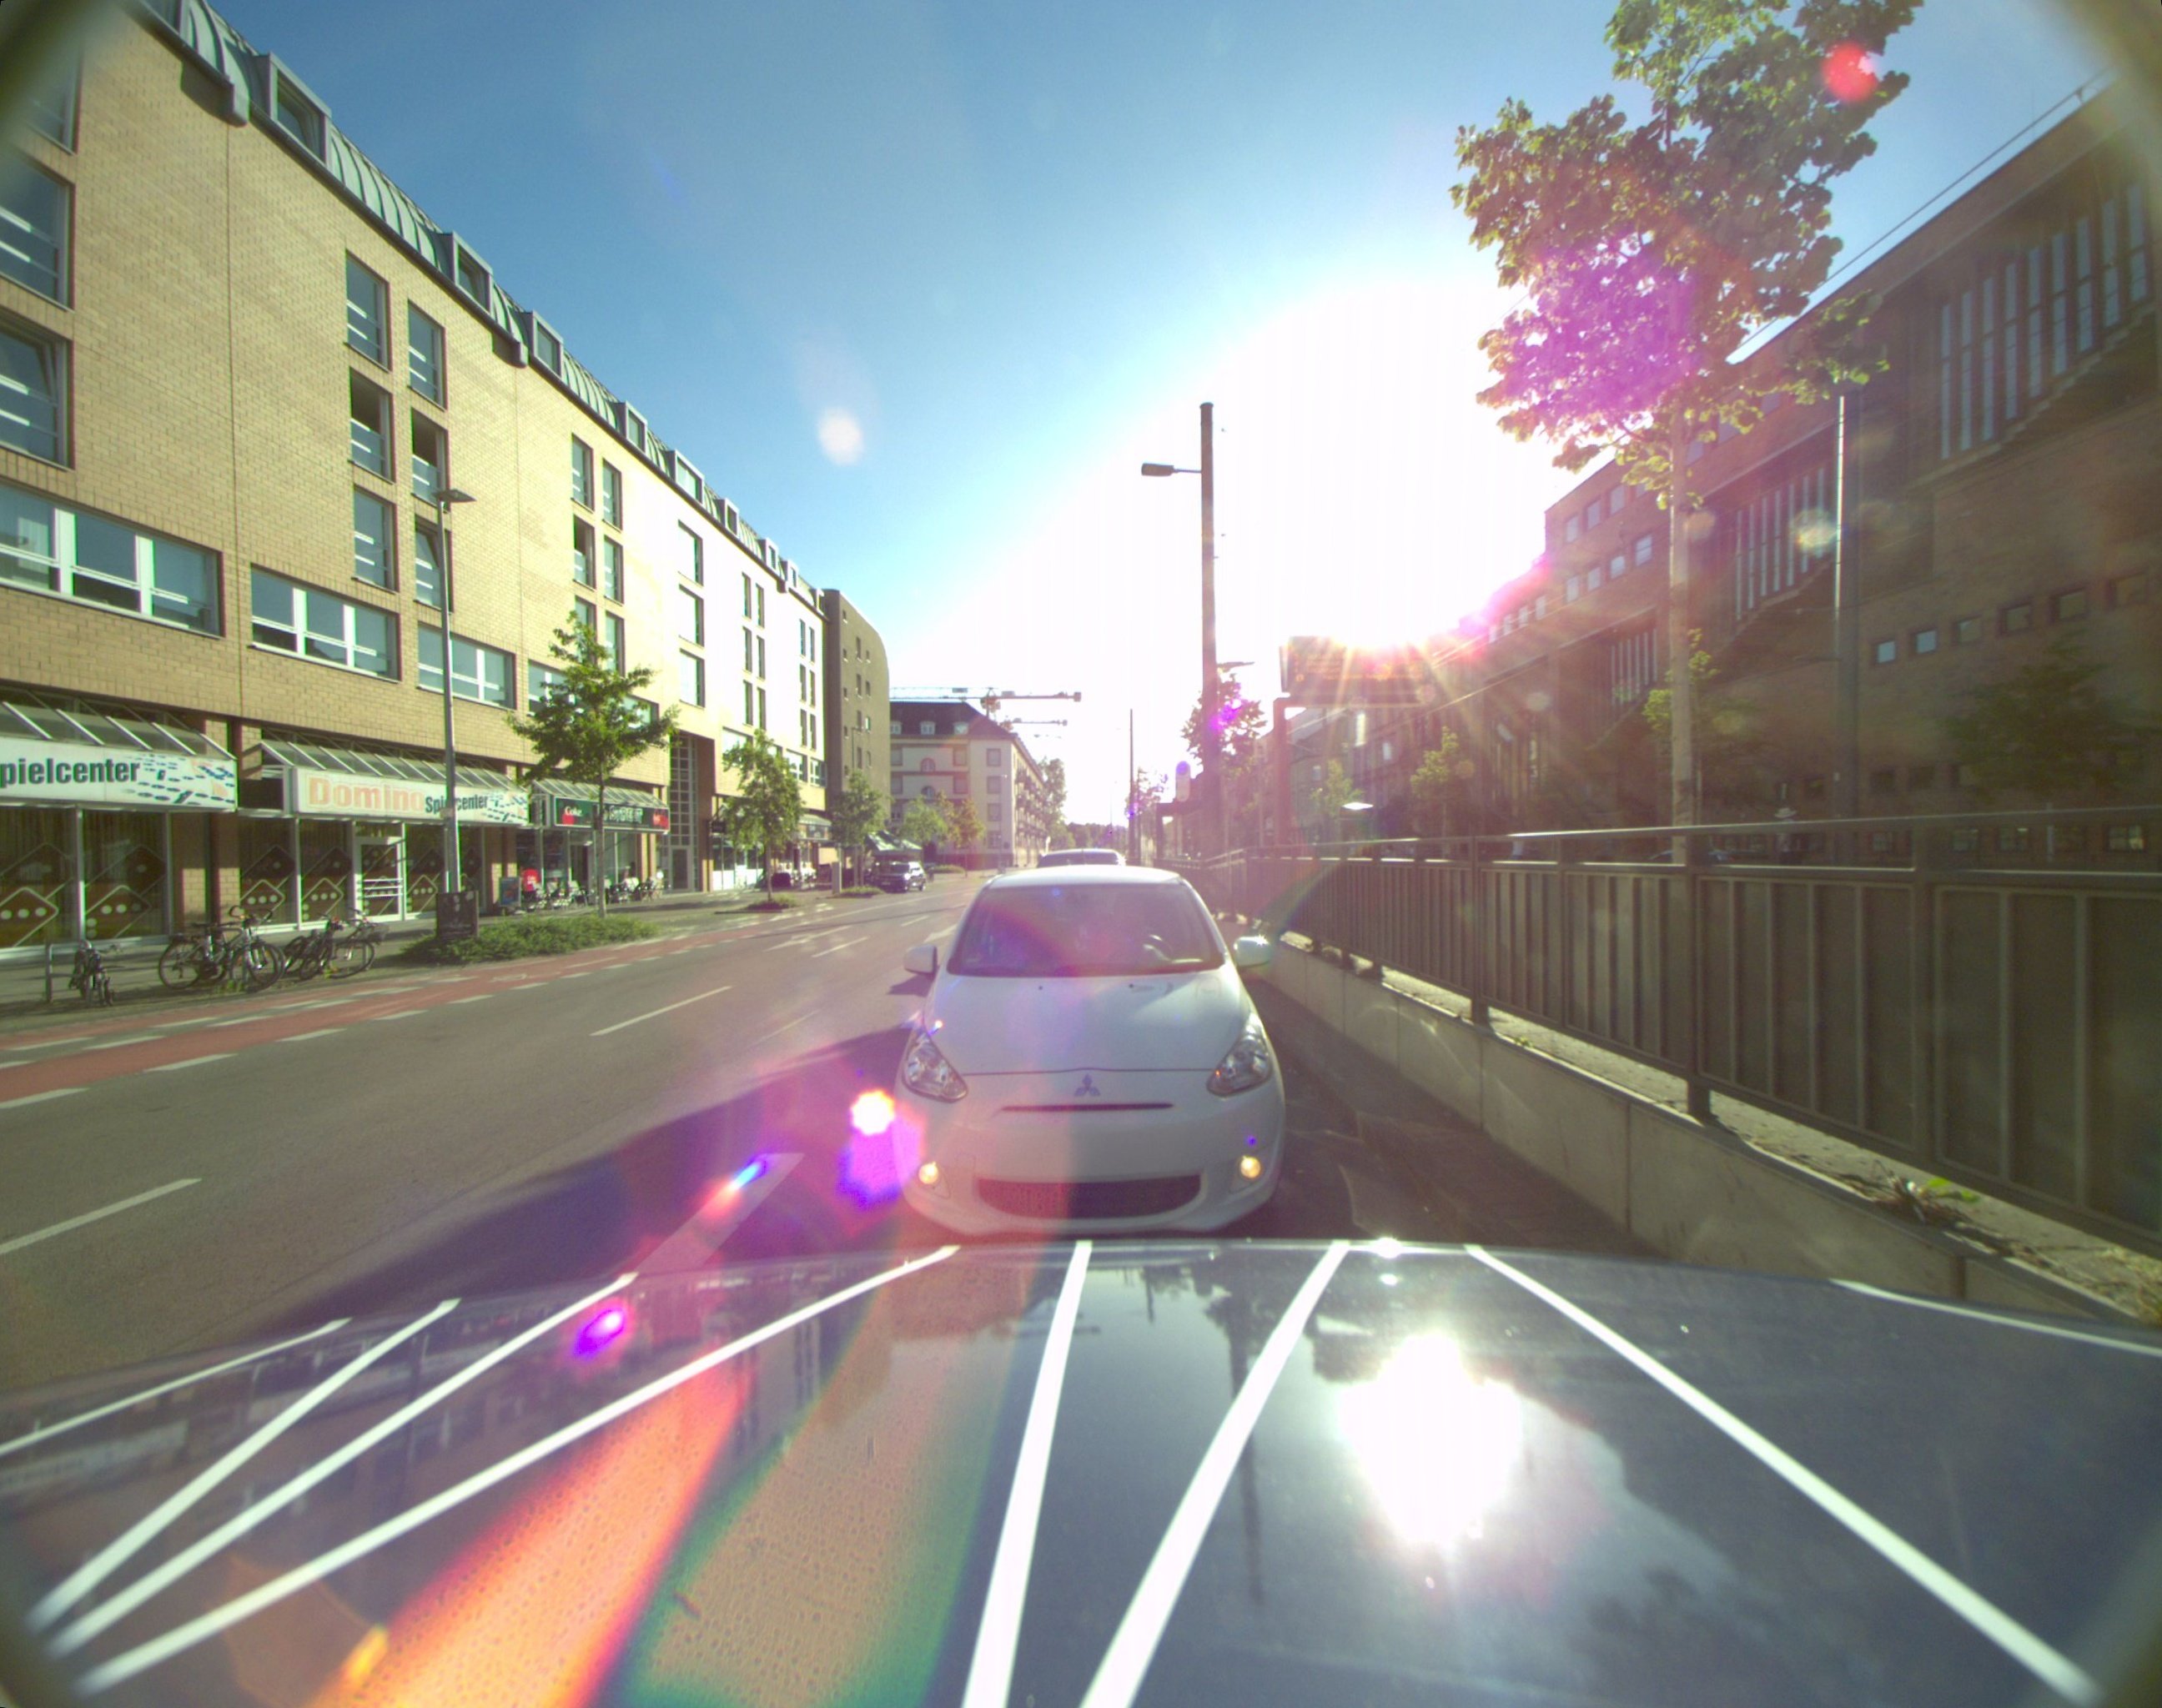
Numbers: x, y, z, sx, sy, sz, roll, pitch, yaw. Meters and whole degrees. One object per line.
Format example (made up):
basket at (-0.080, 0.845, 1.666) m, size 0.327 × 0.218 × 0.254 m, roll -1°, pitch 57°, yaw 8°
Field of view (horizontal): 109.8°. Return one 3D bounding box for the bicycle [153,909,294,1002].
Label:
bicycle at (-12.333, 1.428, 10.935) m, size 1.835 × 1.156 × 0.565 m, roll 1°, pitch 2°, yaw 15°

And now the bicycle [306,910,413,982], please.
bicycle at (-11.884, 1.501, 12.504) m, size 1.835 × 1.050 × 0.350 m, roll 1°, pitch 2°, yaw 15°

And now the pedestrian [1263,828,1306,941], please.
pedestrian at (4.464, 0.655, 16.691) m, size 0.684 × 2.428 × 0.626 m, roll -2°, pitch 2°, yaw -2°

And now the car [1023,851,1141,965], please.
car at (0.017, 0.811, 13.614) m, size 1.720 × 1.591 × 4.215 m, roll -2°, pitch 1°, yaw 0°

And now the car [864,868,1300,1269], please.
car at (0.006, 0.917, 5.209) m, size 1.720 × 1.422 × 4.215 m, roll -2°, pitch 1°, yaw 0°

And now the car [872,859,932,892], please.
car at (-9.735, 1.135, 41.627) m, size 1.778 × 1.630 × 4.002 m, roll 1°, pitch 1°, yaw 9°

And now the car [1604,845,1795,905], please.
car at (18.058, 0.534, 22.548) m, size 1.830 × 1.559 × 4.693 m, roll 0°, pitch 1°, yaw 0°

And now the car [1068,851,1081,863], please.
car at (-1.090, 0.501, 130.763) m, size 2.164 × 1.904 × 4.472 m, roll -2°, pitch 0°, yaw 0°

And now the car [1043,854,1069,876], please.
car at (-2.025, 0.889, 62.574) m, size 1.808 × 1.586 × 4.453 m, roll -3°, pitch 0°, yaw 1°

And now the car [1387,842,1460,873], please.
car at (17.765, 0.139, 39.611) m, size 1.830 × 1.559 × 4.240 m, roll 0°, pitch 1°, yaw -1°

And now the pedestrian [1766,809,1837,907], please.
pedestrian at (13.658, 0.076, 14.420) m, size 0.685 × 1.797 × 0.668 m, roll -2°, pitch 2°, yaw 0°

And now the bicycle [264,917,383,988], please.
bicycle at (-12.009, 1.541, 12.045) m, size 1.835 × 0.980 × 0.449 m, roll 1°, pitch 2°, yaw 15°

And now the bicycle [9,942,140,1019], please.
bicycle at (-13.027, 1.619, 9.834) m, size 1.772 × 0.827 × 0.366 m, roll 1°, pitch 2°, yaw 15°
